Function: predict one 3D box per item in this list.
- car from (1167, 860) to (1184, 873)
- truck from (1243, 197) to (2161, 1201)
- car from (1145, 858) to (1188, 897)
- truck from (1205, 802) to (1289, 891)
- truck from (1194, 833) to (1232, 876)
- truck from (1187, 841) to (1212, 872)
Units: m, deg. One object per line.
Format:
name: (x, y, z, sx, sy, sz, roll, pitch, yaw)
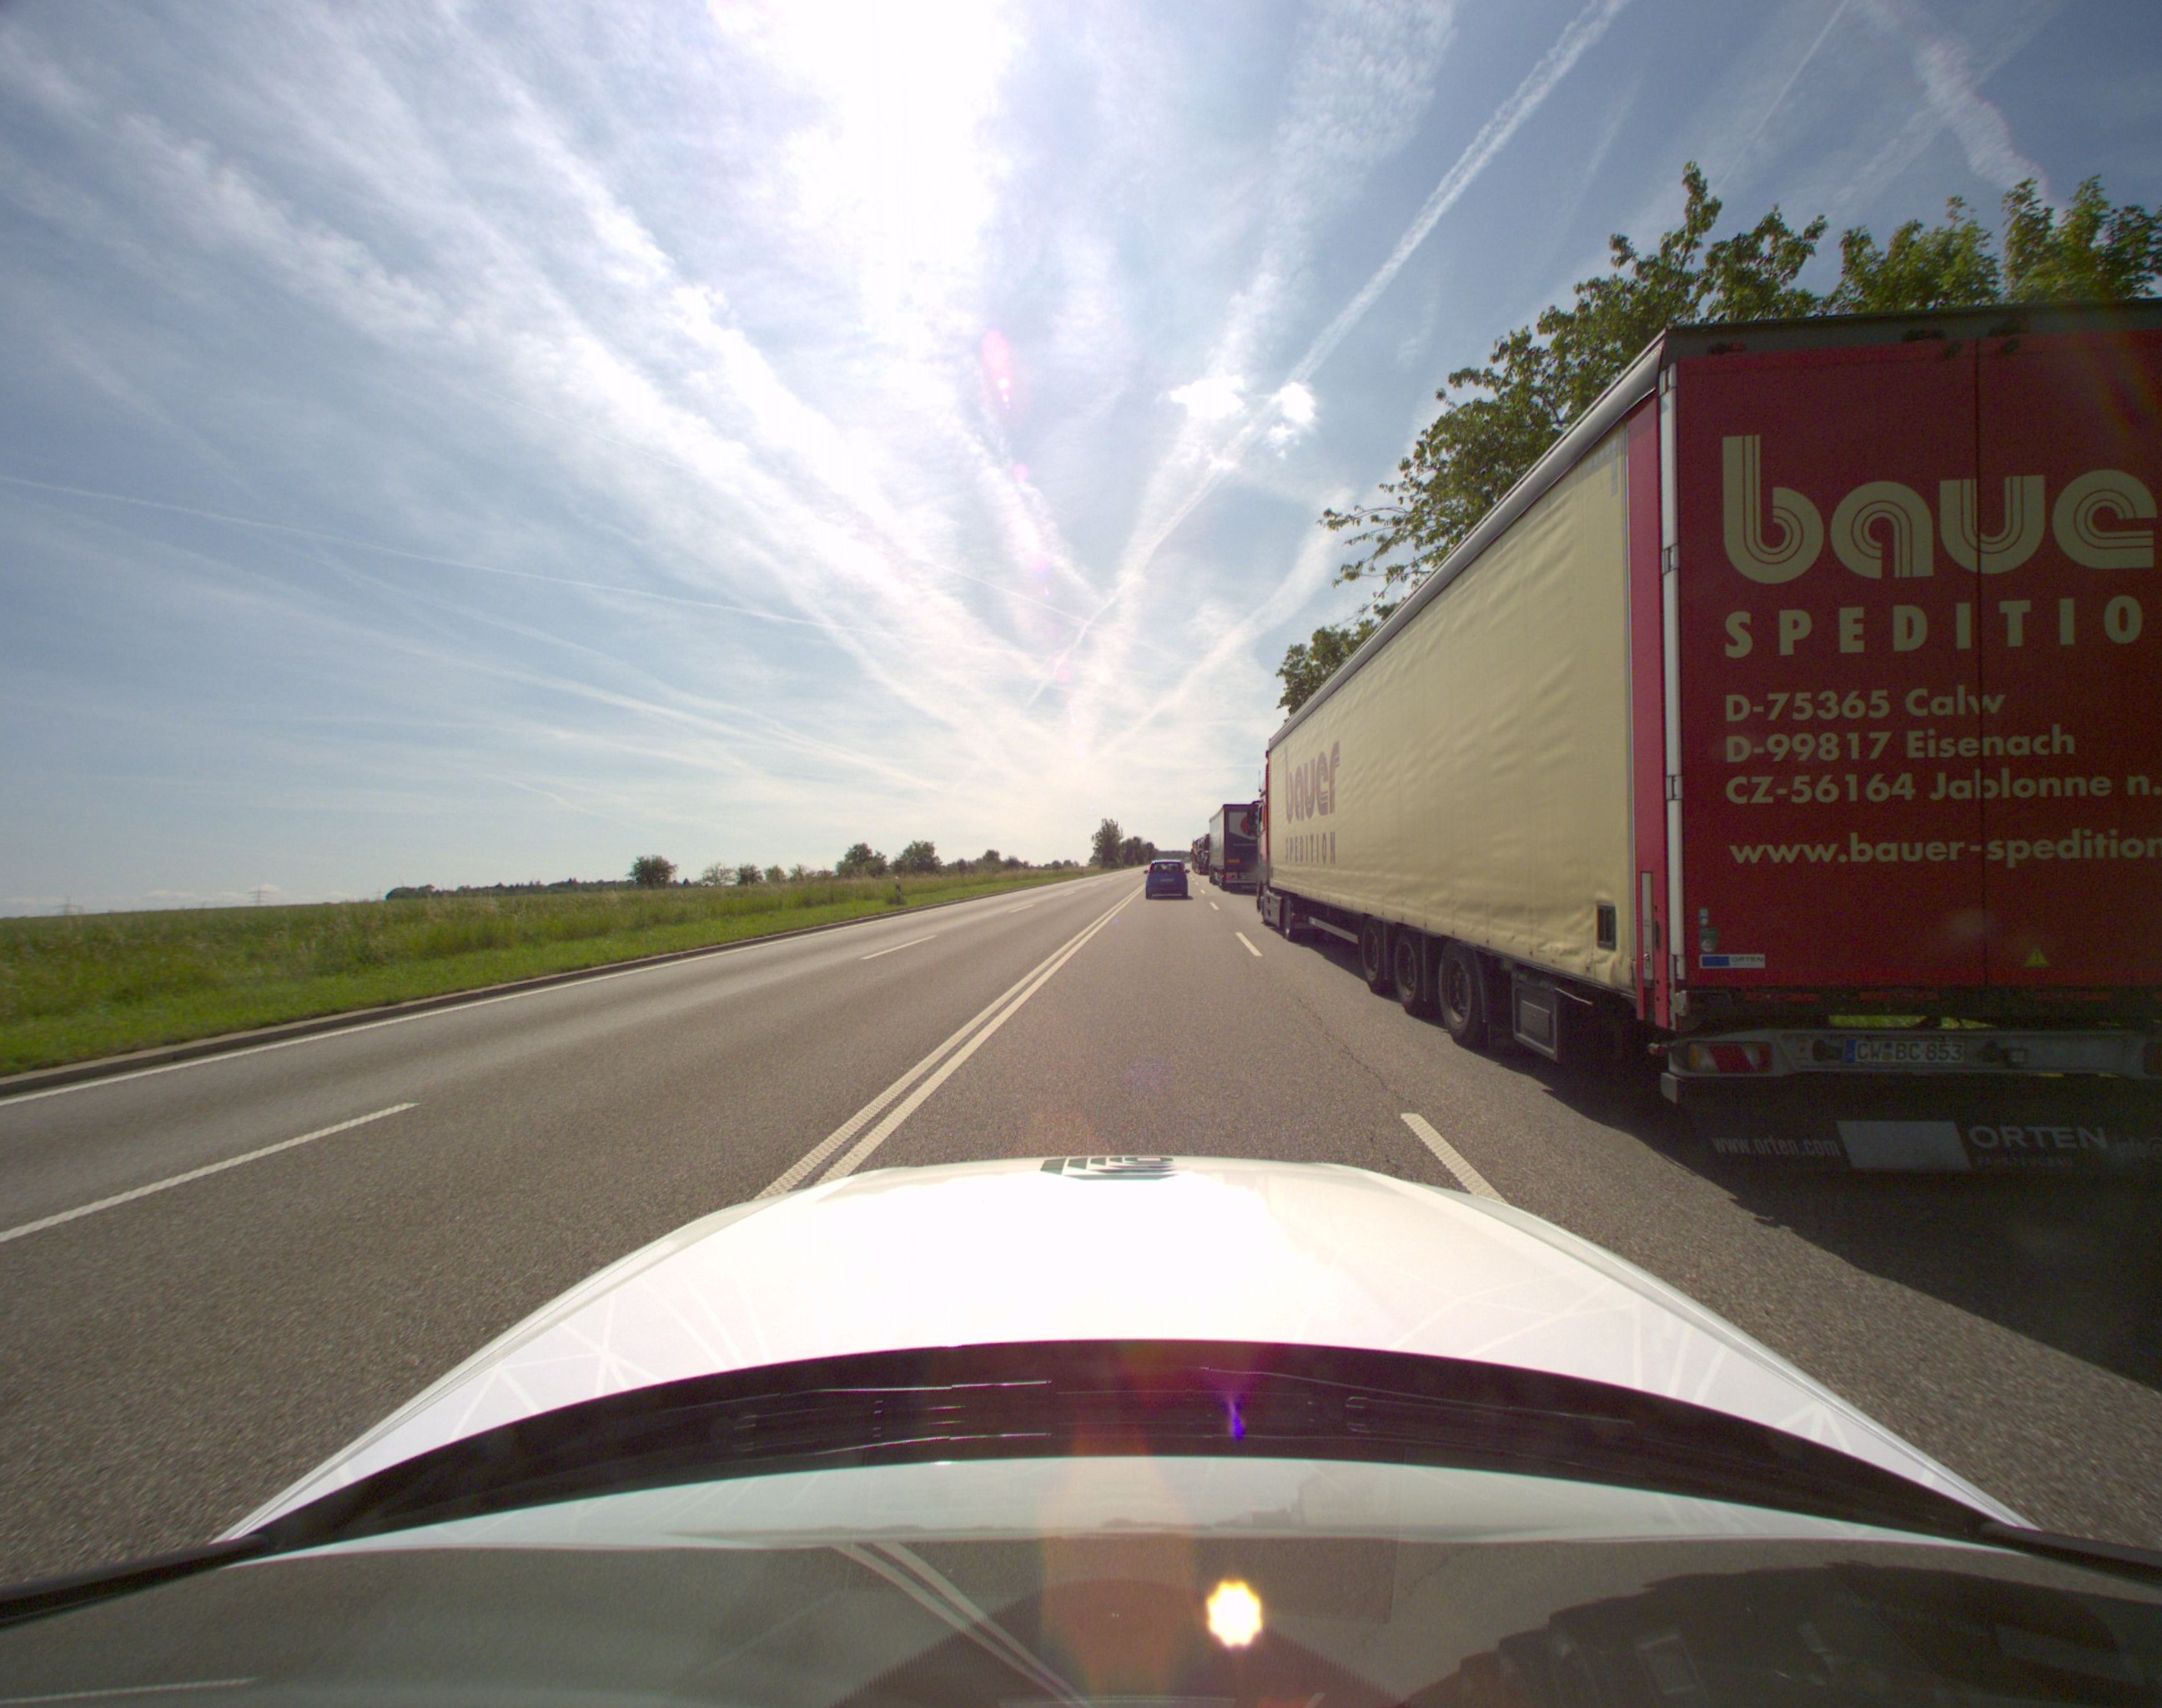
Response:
car: (10.031, 1.333, 86.926, 1.695, 1.376, 4.610, 0, -1, 5)
truck: (4.712, -0.597, 11.760, 2.992, 4.180, 16.739, -1, 0, 6)
car: (3.540, 0.946, 33.641, 1.623, 1.531, 3.921, -1, -1, 6)
truck: (8.521, -0.276, 43.821, 3.031, 3.910, 15.642, 0, -1, 6)
truck: (13.313, 0.106, 83.431, 3.031, 3.910, 18.431, -1, -1, 7)
truck: (16.612, 0.405, 114.944, 3.031, 3.910, 18.431, -1, -1, 7)
